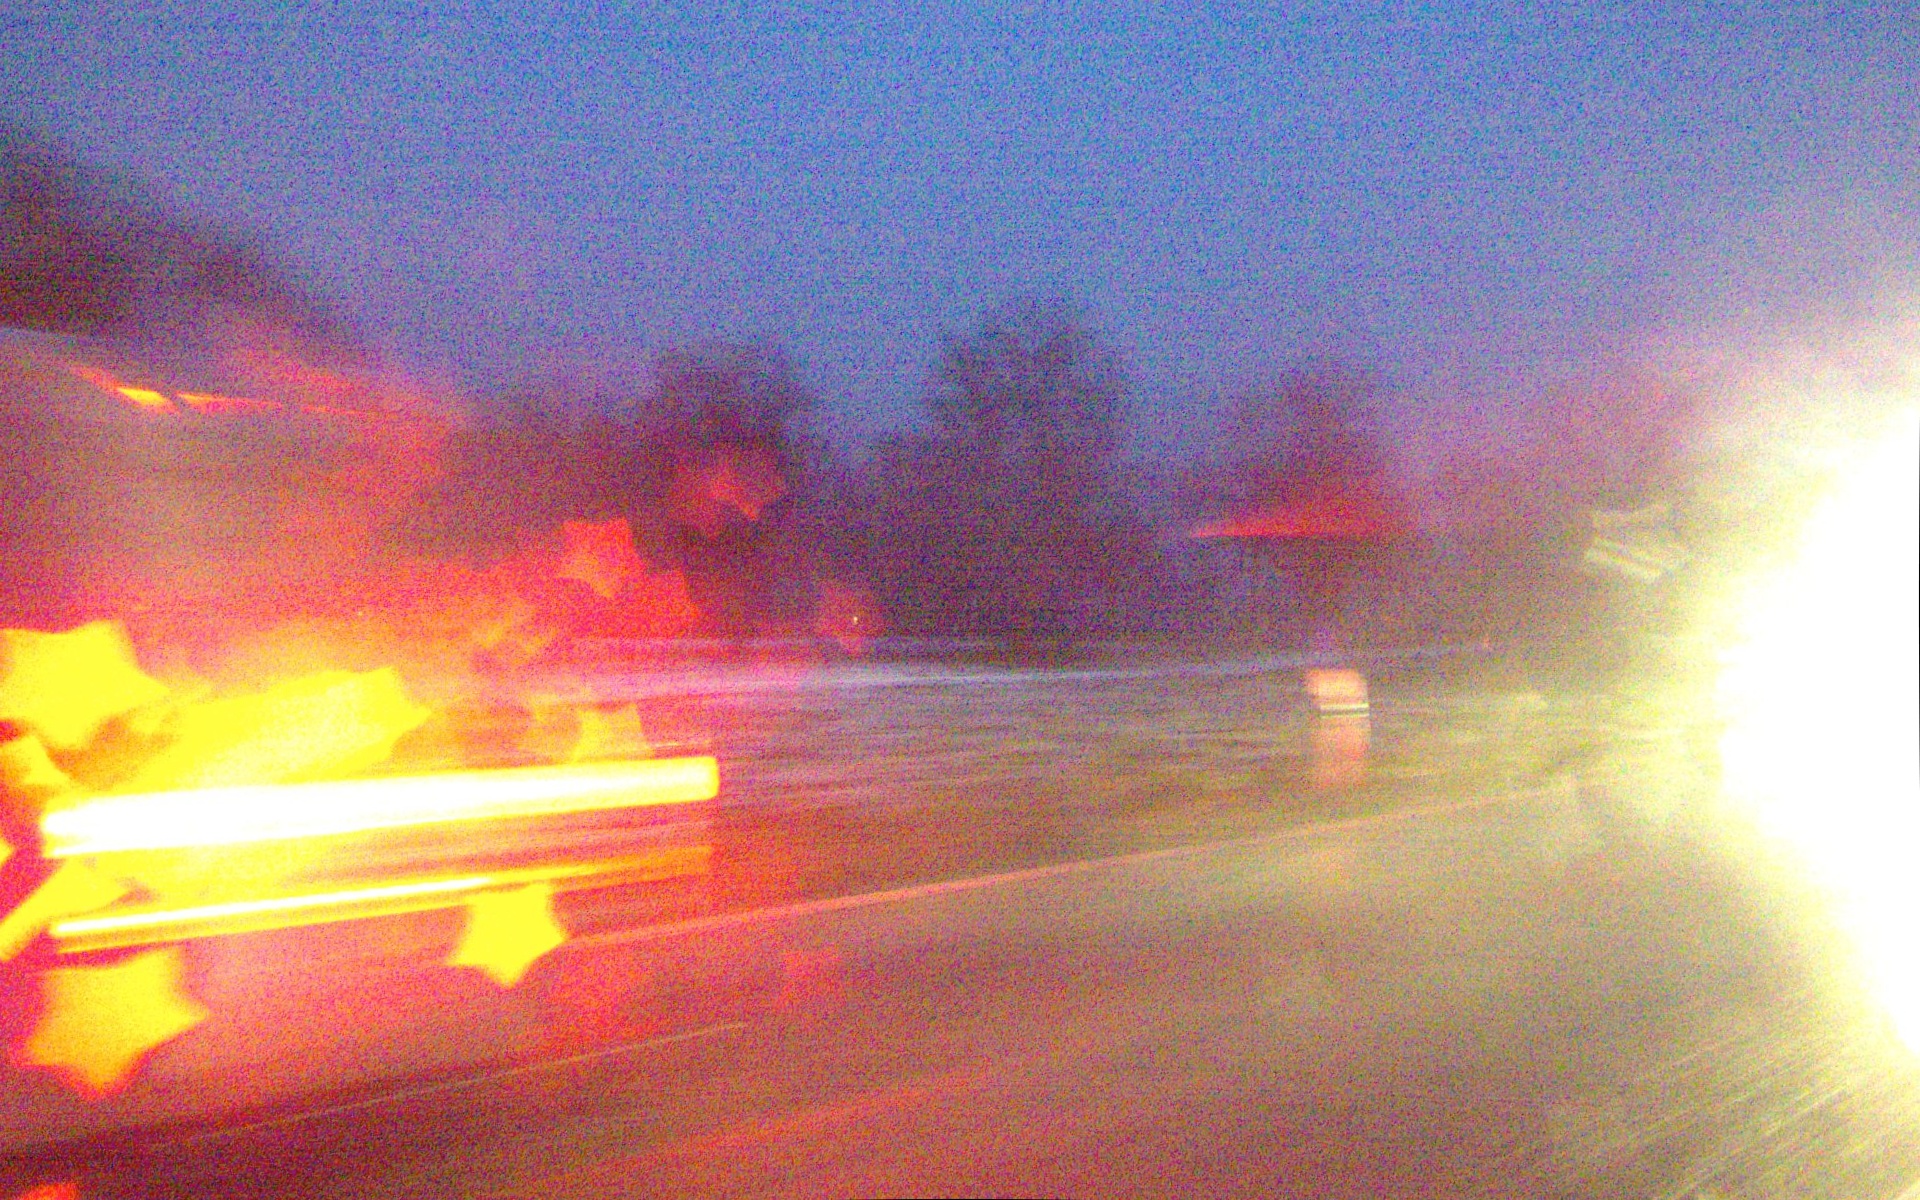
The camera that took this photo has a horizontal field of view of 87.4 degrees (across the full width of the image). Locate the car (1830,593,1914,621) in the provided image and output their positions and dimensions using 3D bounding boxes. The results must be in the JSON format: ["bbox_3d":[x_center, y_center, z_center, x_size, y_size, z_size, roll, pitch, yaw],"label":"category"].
[{"bbox_3d":[61.052,0.498,67.325,4.106,1.709,1.684,-1,-3,44],"label":"car"}]

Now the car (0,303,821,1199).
[{"bbox_3d":[-2.868,0.524,1.861,4.792,2.041,1.982,0,3,-32],"label":"car"}]

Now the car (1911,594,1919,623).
[{"bbox_3d":[61.145,0.541,60.998,1.986,1.758,4.865,1,0,-43],"label":"car"}]
